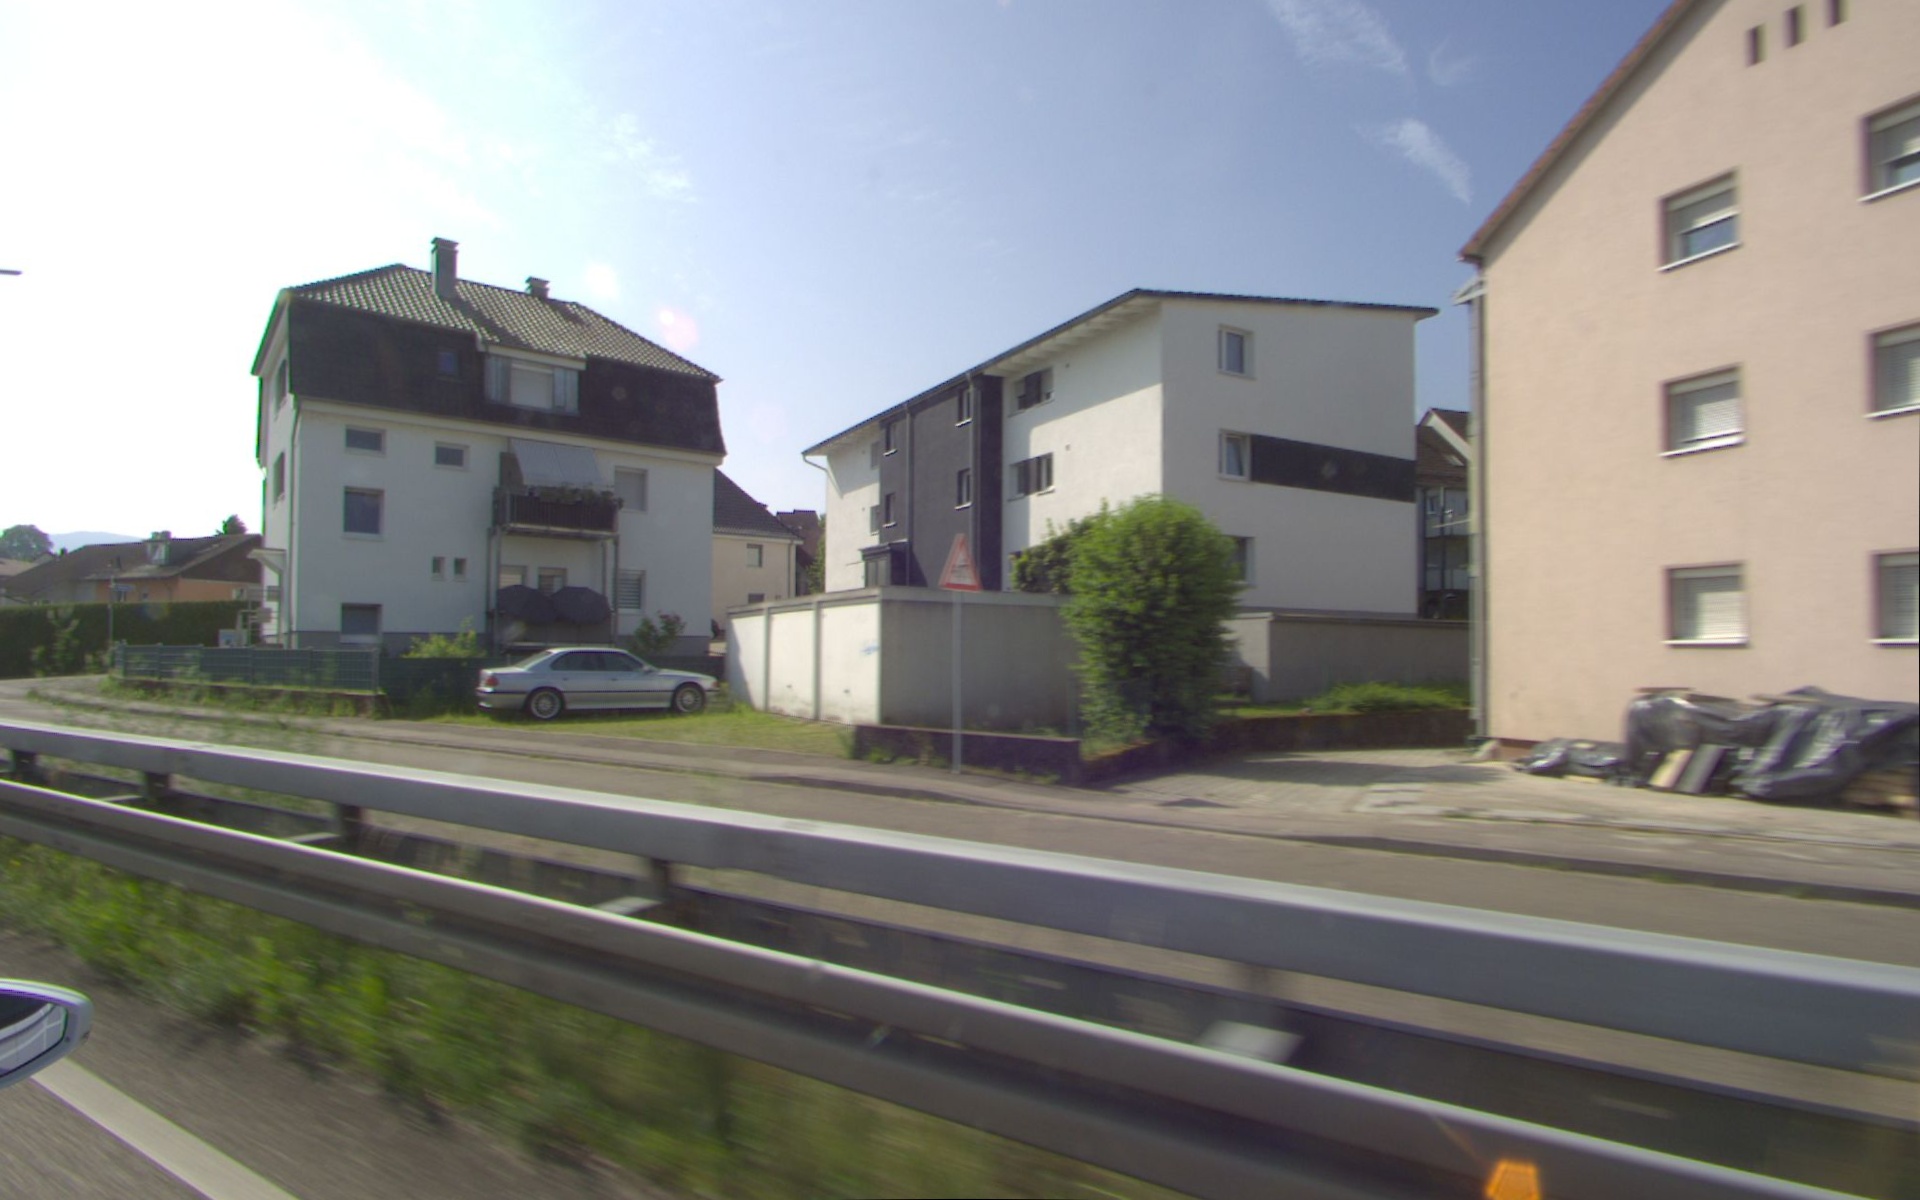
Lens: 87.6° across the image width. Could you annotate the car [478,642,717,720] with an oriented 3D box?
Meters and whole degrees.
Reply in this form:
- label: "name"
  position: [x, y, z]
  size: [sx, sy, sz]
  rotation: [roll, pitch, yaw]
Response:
- label: "car"
  position: [-7.656, 1.651, 21.279]
  size: [4.546, 1.366, 1.745]
  rotation: [0, 0, -31]
